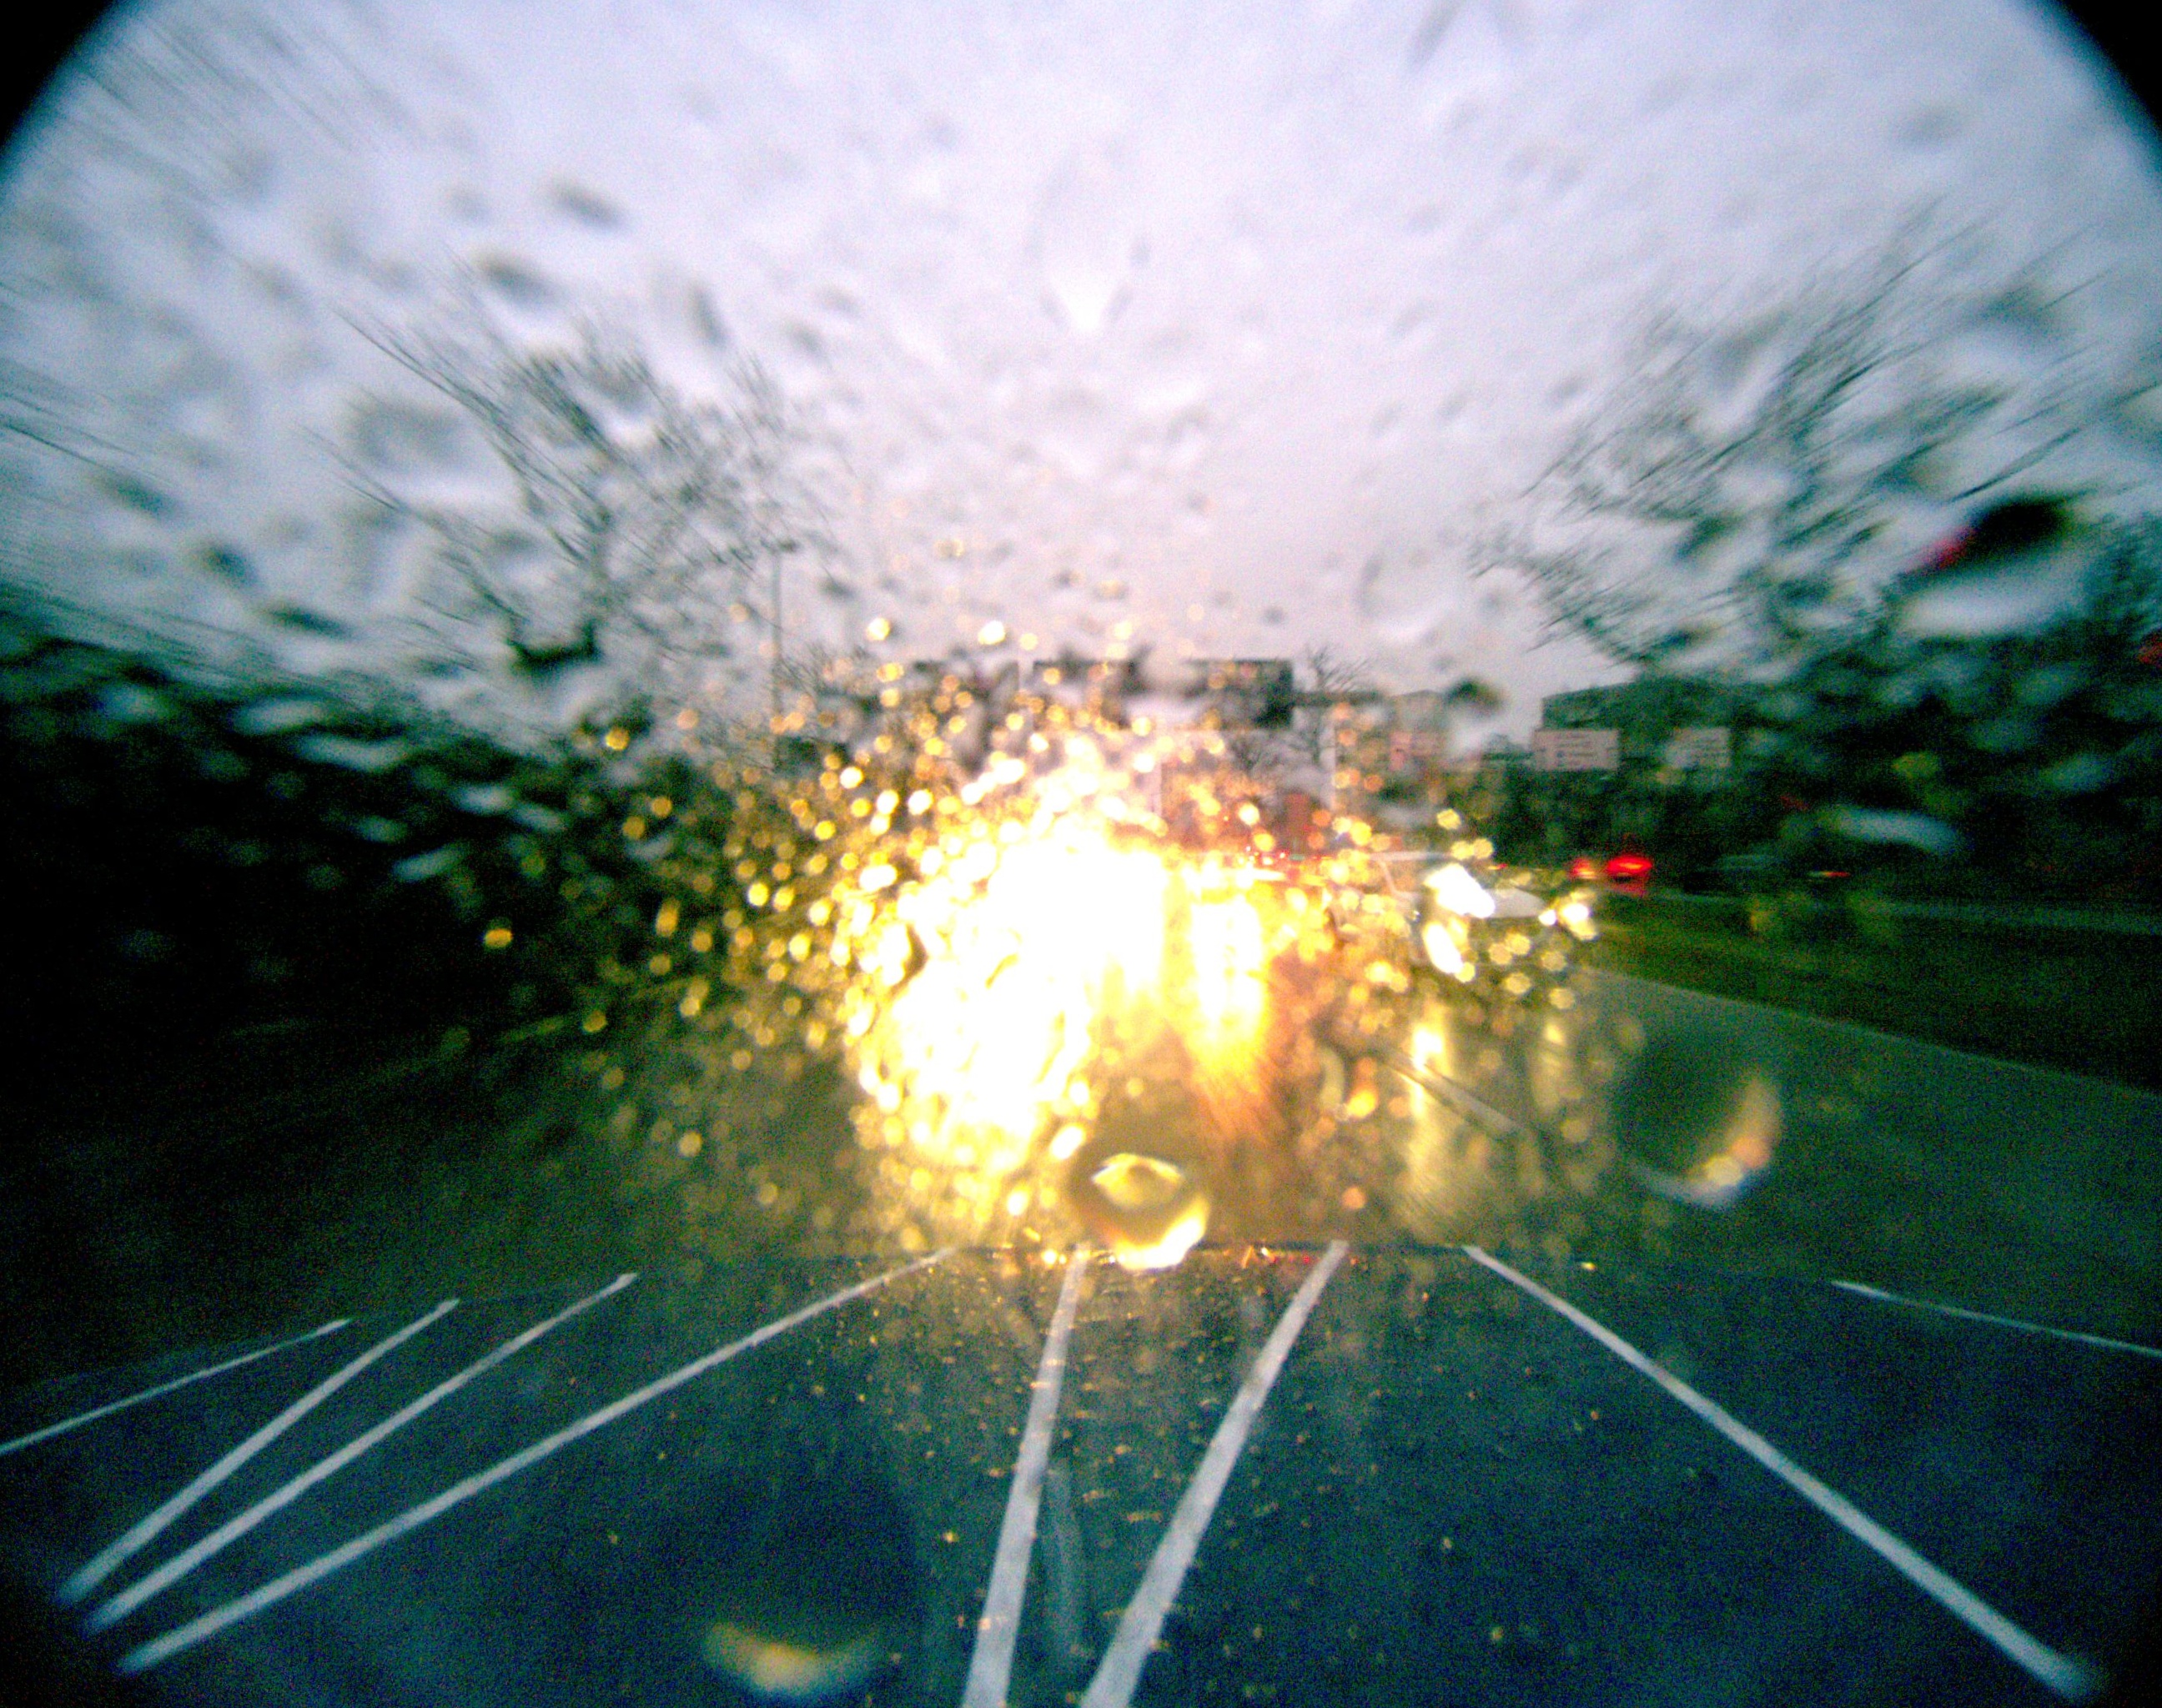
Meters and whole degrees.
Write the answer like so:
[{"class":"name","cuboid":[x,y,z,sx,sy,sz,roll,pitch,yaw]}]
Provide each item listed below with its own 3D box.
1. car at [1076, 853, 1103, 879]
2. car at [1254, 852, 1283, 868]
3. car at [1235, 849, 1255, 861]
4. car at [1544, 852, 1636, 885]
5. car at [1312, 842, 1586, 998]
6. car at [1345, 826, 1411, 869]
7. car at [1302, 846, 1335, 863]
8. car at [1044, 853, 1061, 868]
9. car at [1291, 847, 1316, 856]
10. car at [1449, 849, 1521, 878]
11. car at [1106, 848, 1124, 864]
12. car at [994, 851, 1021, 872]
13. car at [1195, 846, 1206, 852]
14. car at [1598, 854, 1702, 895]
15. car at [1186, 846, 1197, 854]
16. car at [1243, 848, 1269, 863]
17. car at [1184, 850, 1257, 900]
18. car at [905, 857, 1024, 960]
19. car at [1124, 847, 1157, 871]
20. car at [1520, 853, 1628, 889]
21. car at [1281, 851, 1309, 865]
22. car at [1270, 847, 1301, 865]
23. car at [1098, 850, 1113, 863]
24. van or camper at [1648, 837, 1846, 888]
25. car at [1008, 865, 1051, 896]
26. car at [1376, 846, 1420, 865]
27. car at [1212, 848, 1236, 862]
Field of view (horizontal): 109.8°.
[{"class":"car","cuboid":[0.536,0.780,51.321,1.679,1.590,4.043,-1,1,-1]},{"class":"car","cuboid":[18.952,0.598,76.875,1.774,1.524,4.524,-1,0,0]},{"class":"car","cuboid":[19.312,0.110,89.441,1.656,1.412,3.326,-1,1,0]},{"class":"car","cuboid":[24.873,0.660,37.325,1.740,1.438,4.171,-1,1,0]},{"class":"car","cuboid":[4.548,0.676,10.162,1.718,1.638,4.146,-1,1,1]},{"class":"car","cuboid":[22.383,-0.531,57.673,2.297,2.988,7.345,-2,1,2]},{"class":"car","cuboid":[22.446,0.034,71.924,1.774,1.528,4.446,-1,0,1]},{"class":"car","cuboid":[-2.754,0.608,73.720,1.636,1.302,3.998,-1,1,-2]},{"class":"car","cuboid":[41.973,-0.456,143.511,4.447,1.536,1.847,-1,1,-26]},{"class":"car","cuboid":[22.438,0.492,42.410,1.908,1.438,4.456,-1,1,5]},{"class":"car","cuboid":[3.992,0.213,90.265,1.998,1.652,3.999,-2,1,1]},{"class":"car","cuboid":[-6.059,0.611,63.176,1.972,1.610,4.546,0,1,-3]},{"class":"car","cuboid":[27.165,-1.153,172.750,1.623,1.486,4.016,-1,0,-1]},{"class":"car","cuboid":[28.363,0.968,38.085,1.998,1.840,4.426,-2,1,2]},{"class":"car","cuboid":[24.050,-0.877,165.703,1.774,1.544,3.946,-1,0,-1]},{"class":"car","cuboid":[19.202,0.195,83.456,1.861,1.589,4.286,-1,0,0]},{"class":"car","cuboid":[4.761,0.666,26.473,1.694,1.530,4.189,-2,1,-1]},{"class":"car","cuboid":[-2.100,0.917,14.902,1.820,1.609,4.409,-1,1,-3]},{"class":"car","cuboid":[4.135,0.306,53.241,1.953,1.590,4.123,-1,1,-1]},{"class":"car","cuboid":[21.748,0.713,33.760,1.909,1.438,4.442,-1,1,0]},{"class":"car","cuboid":[24.325,0.427,86.510,1.774,1.481,4.649,-1,0,0]},{"class":"car","cuboid":[19.046,0.145,70.990,1.774,1.577,4.032,-1,0,0]},{"class":"car","cuboid":[3.457,0.342,106.999,1.998,1.605,3.999,-2,1,1]},{"class":"van or camper","cuboid":[21.249,0.233,24.613,1.909,1.438,5.158,-1,1,0]},{"class":"car","cuboid":[-2.683,1.300,38.764,1.883,1.368,4.751,-1,1,-7]},{"class":"car","cuboid":[24.950,0.084,59.902,1.760,1.390,3.999,-1,1,0]},{"class":"car","cuboid":[15.898,0.069,84.691,1.774,1.528,4.840,-1,0,0]}]
